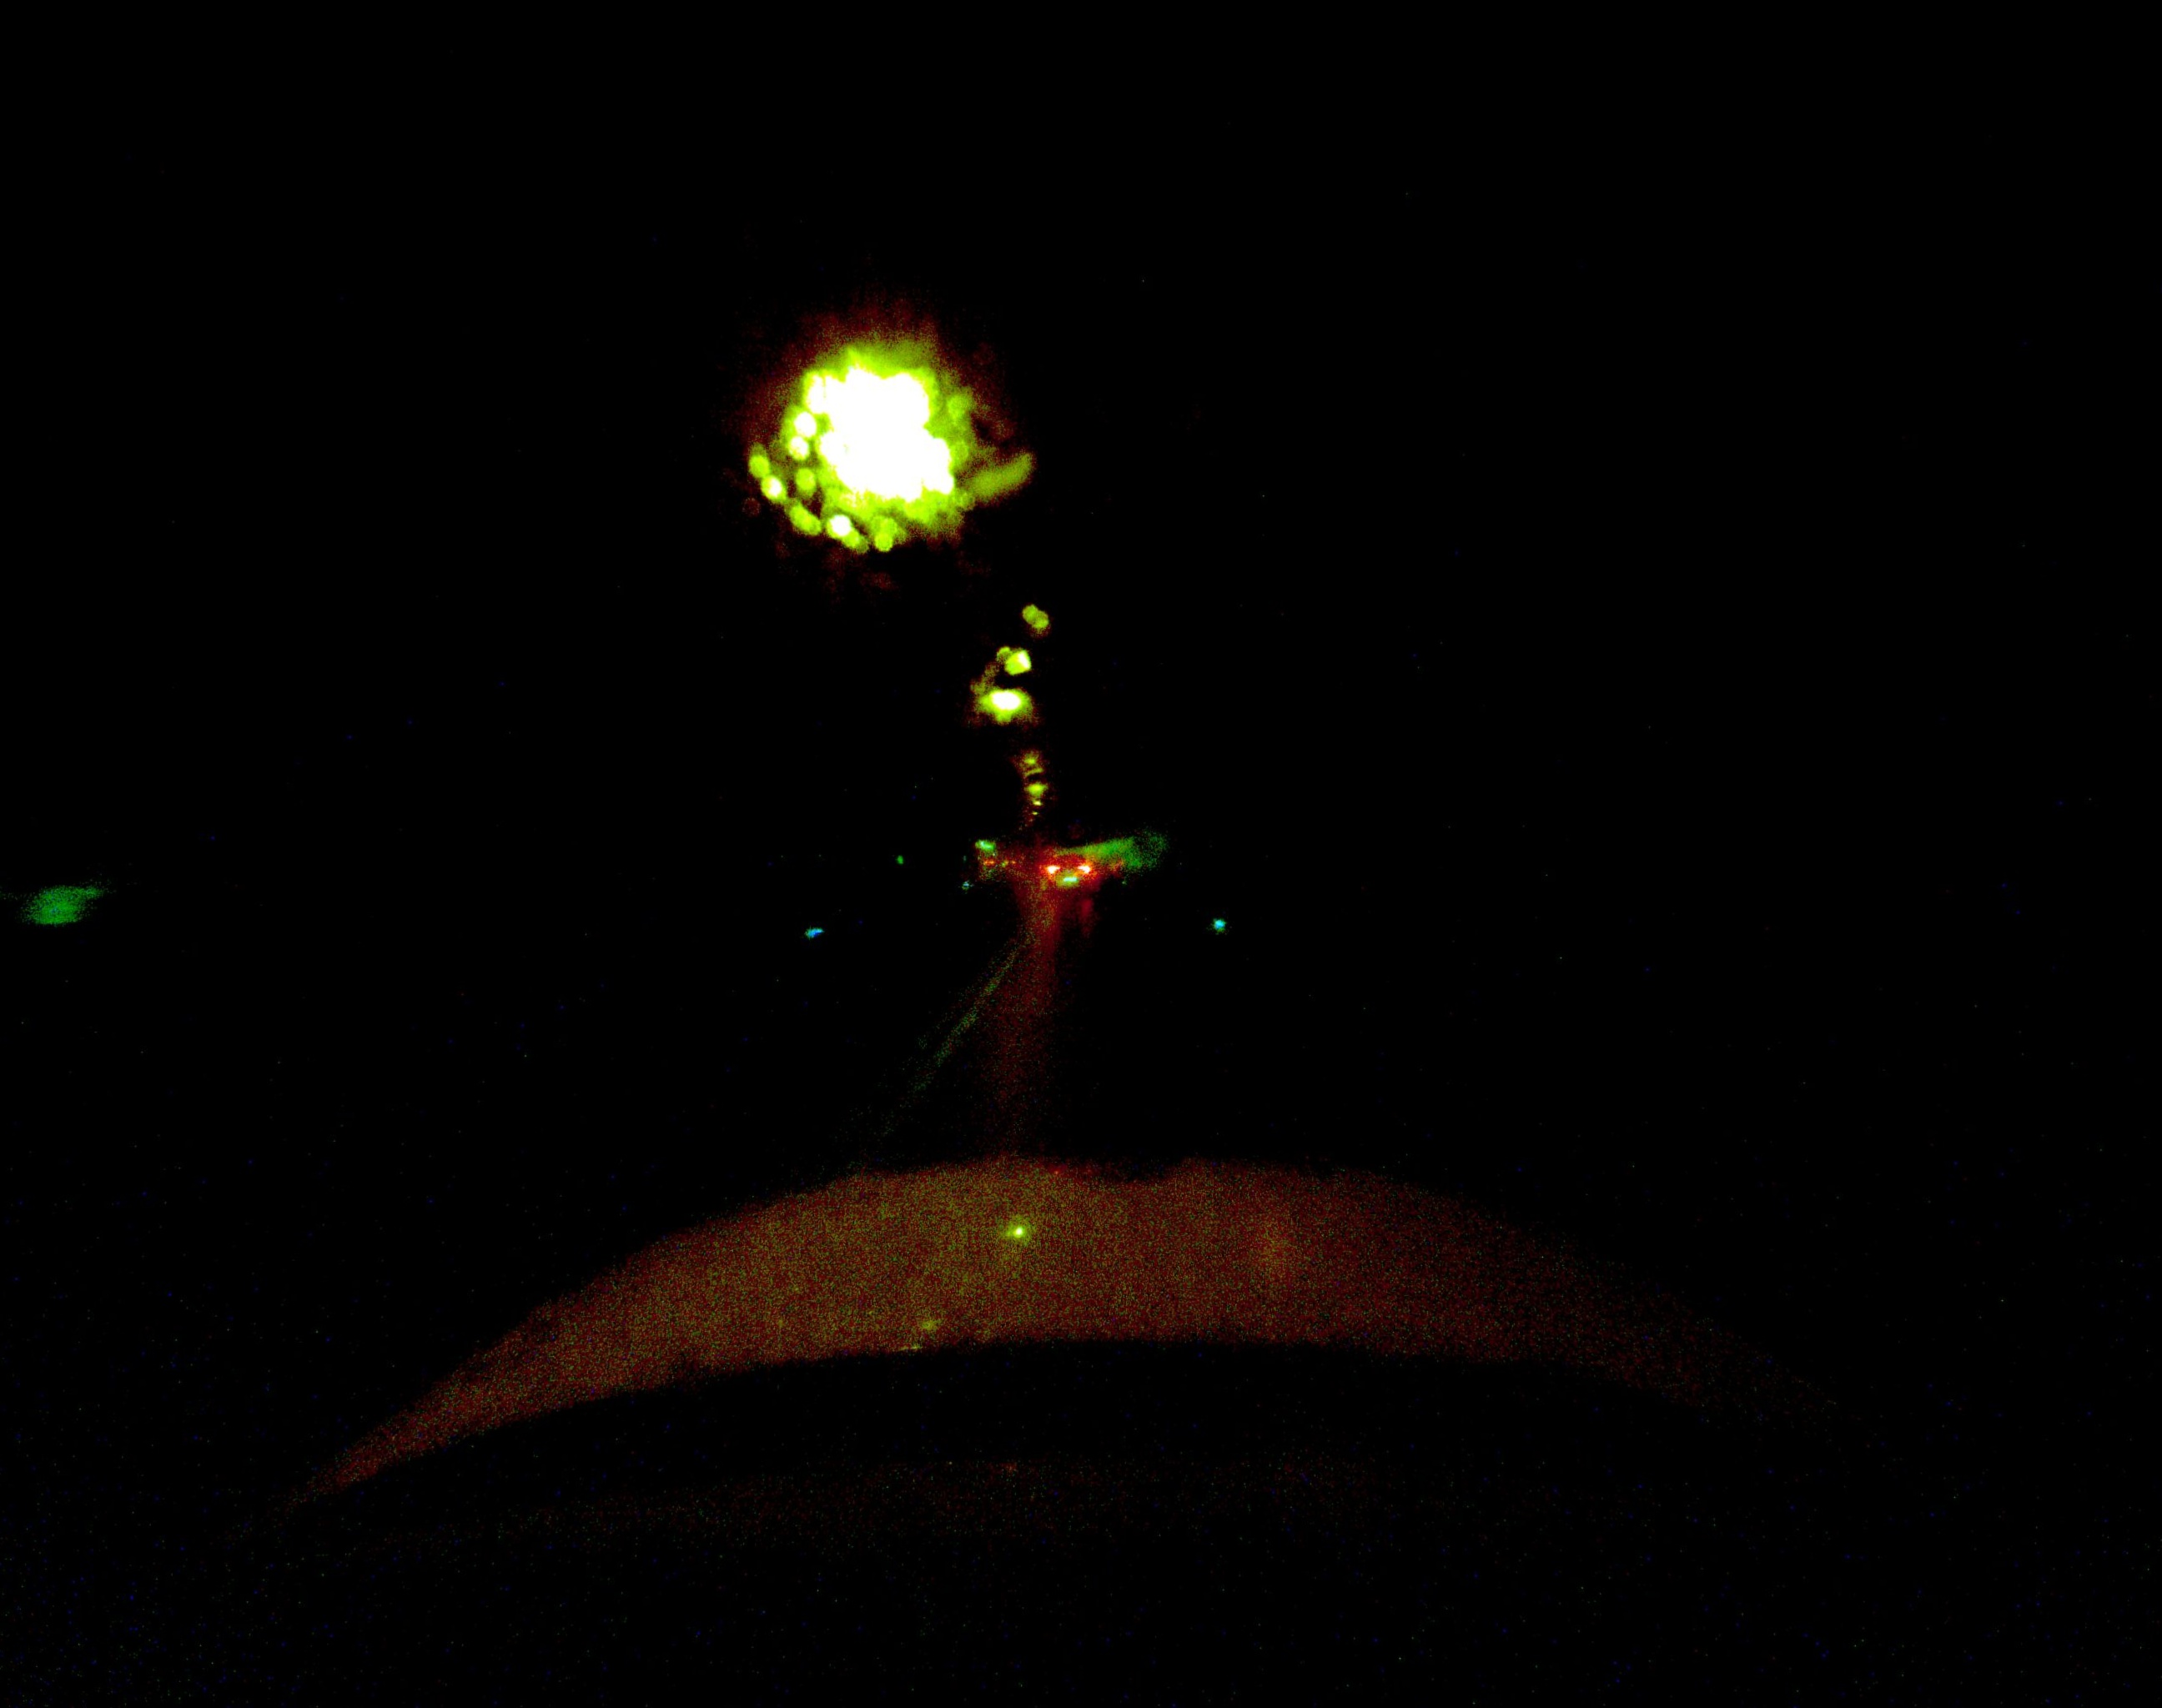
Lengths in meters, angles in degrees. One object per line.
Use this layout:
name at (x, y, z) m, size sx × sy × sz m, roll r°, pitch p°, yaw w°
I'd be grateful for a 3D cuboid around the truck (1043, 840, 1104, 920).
truck at (-0.288, 0.996, 34.597) m, size 2.255 × 3.011 × 7.413 m, roll 1°, pitch 0°, yaw 0°
